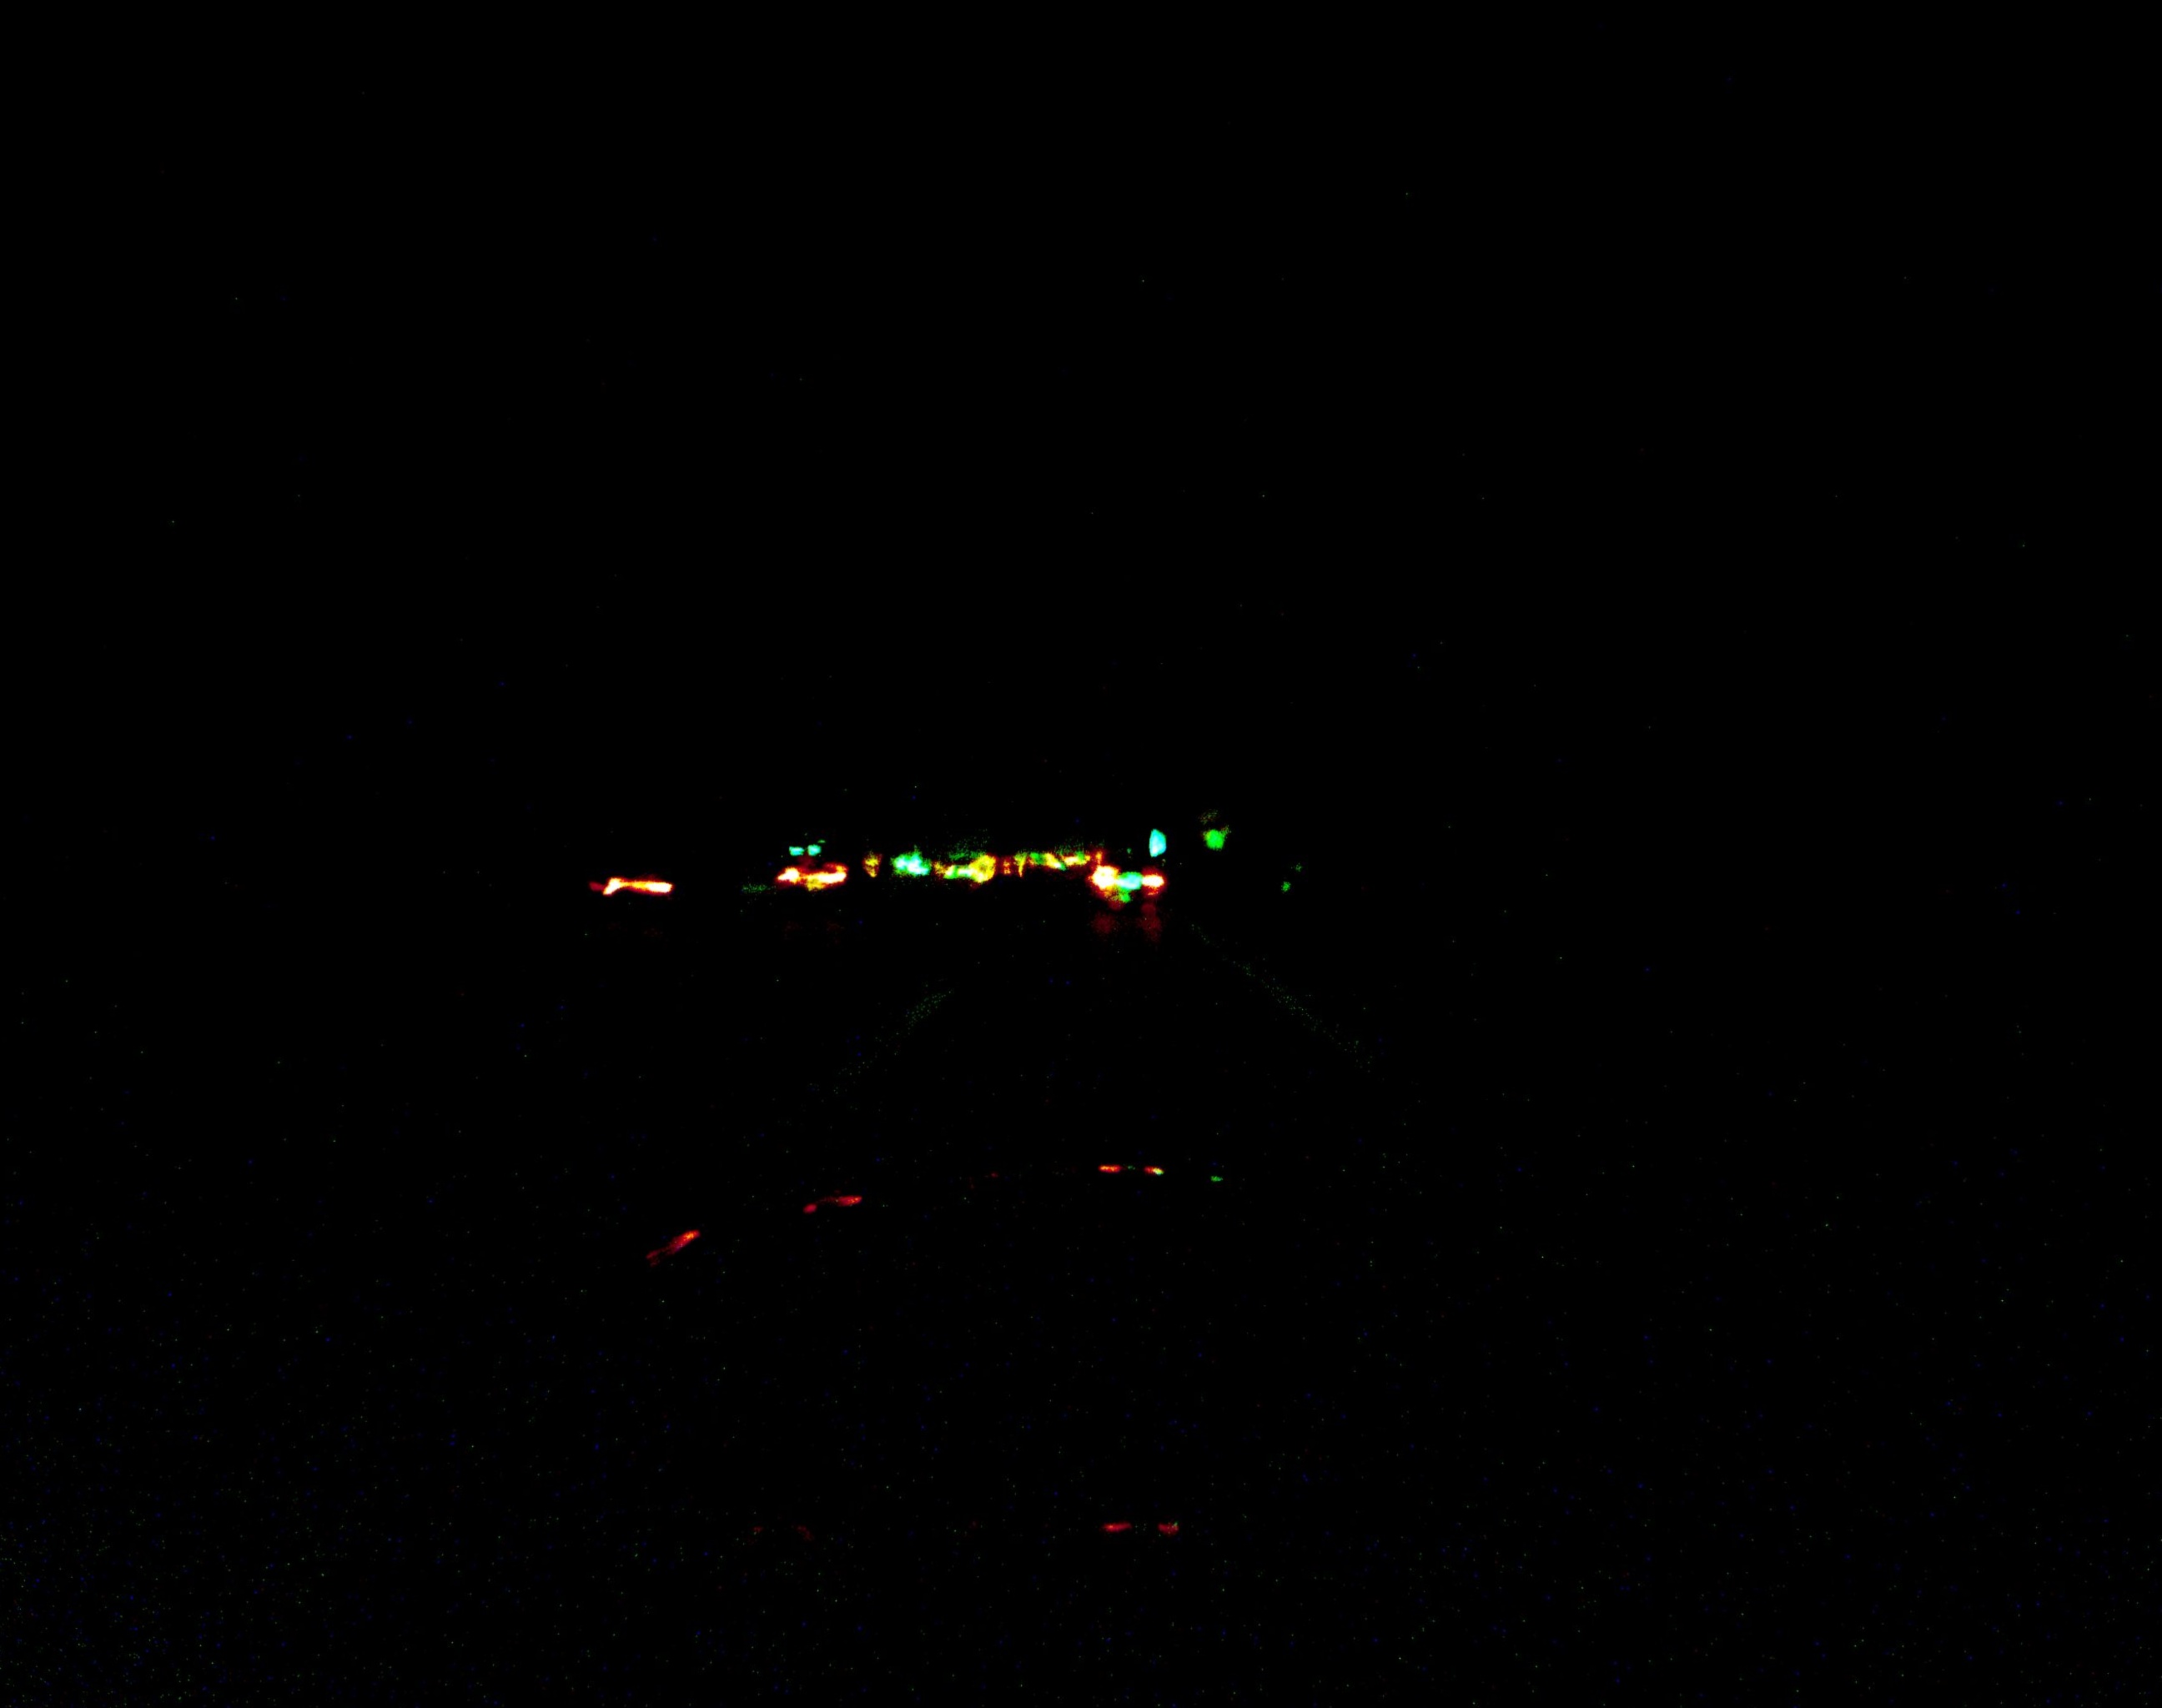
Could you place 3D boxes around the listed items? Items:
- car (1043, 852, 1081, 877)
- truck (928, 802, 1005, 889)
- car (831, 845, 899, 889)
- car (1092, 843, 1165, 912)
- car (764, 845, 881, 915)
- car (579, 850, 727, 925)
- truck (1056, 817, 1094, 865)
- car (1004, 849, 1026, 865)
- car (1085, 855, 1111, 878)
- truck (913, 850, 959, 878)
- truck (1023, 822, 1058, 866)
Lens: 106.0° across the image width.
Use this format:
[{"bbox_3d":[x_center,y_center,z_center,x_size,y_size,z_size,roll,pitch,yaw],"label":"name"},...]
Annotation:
[{"bbox_3d":[-1.526,0.846,68.352,2.821,2.013,5.513,0,0,2],"label":"car"},{"bbox_3d":[-6.744,-0.467,49.595,3.647,4.737,9.844,0,0,-2],"label":"truck"},{"bbox_3d":[-10.918,0.608,41.562,2.118,2.104,5.625,-1,0,-2],"label":"car"},{"bbox_3d":[1.321,0.617,23.125,1.870,1.762,4.003,0,0,3],"label":"car"},{"bbox_3d":[-7.081,0.661,22.801,2.034,1.761,4.510,0,0,-3],"label":"car"},{"bbox_3d":[-10.903,0.782,21.085,1.761,1.689,3.998,-1,1,-2],"label":"car"},{"bbox_3d":[-0.690,-1.425,95.333,4.149,5.215,9.950,0,0,-1],"label":"truck"},{"bbox_3d":[-7.491,0.317,92.354,1.986,1.704,4.460,0,0,2],"label":"car"},{"bbox_3d":[1.386,0.959,63.846,1.986,1.704,4.460,0,0,2],"label":"car"},{"bbox_3d":[-11.867,0.792,67.156,2.849,2.201,5.856,0,0,-1],"label":"truck"},{"bbox_3d":[-5.140,-1.231,106.038,4.243,5.444,10.877,0,0,-2],"label":"truck"}]
